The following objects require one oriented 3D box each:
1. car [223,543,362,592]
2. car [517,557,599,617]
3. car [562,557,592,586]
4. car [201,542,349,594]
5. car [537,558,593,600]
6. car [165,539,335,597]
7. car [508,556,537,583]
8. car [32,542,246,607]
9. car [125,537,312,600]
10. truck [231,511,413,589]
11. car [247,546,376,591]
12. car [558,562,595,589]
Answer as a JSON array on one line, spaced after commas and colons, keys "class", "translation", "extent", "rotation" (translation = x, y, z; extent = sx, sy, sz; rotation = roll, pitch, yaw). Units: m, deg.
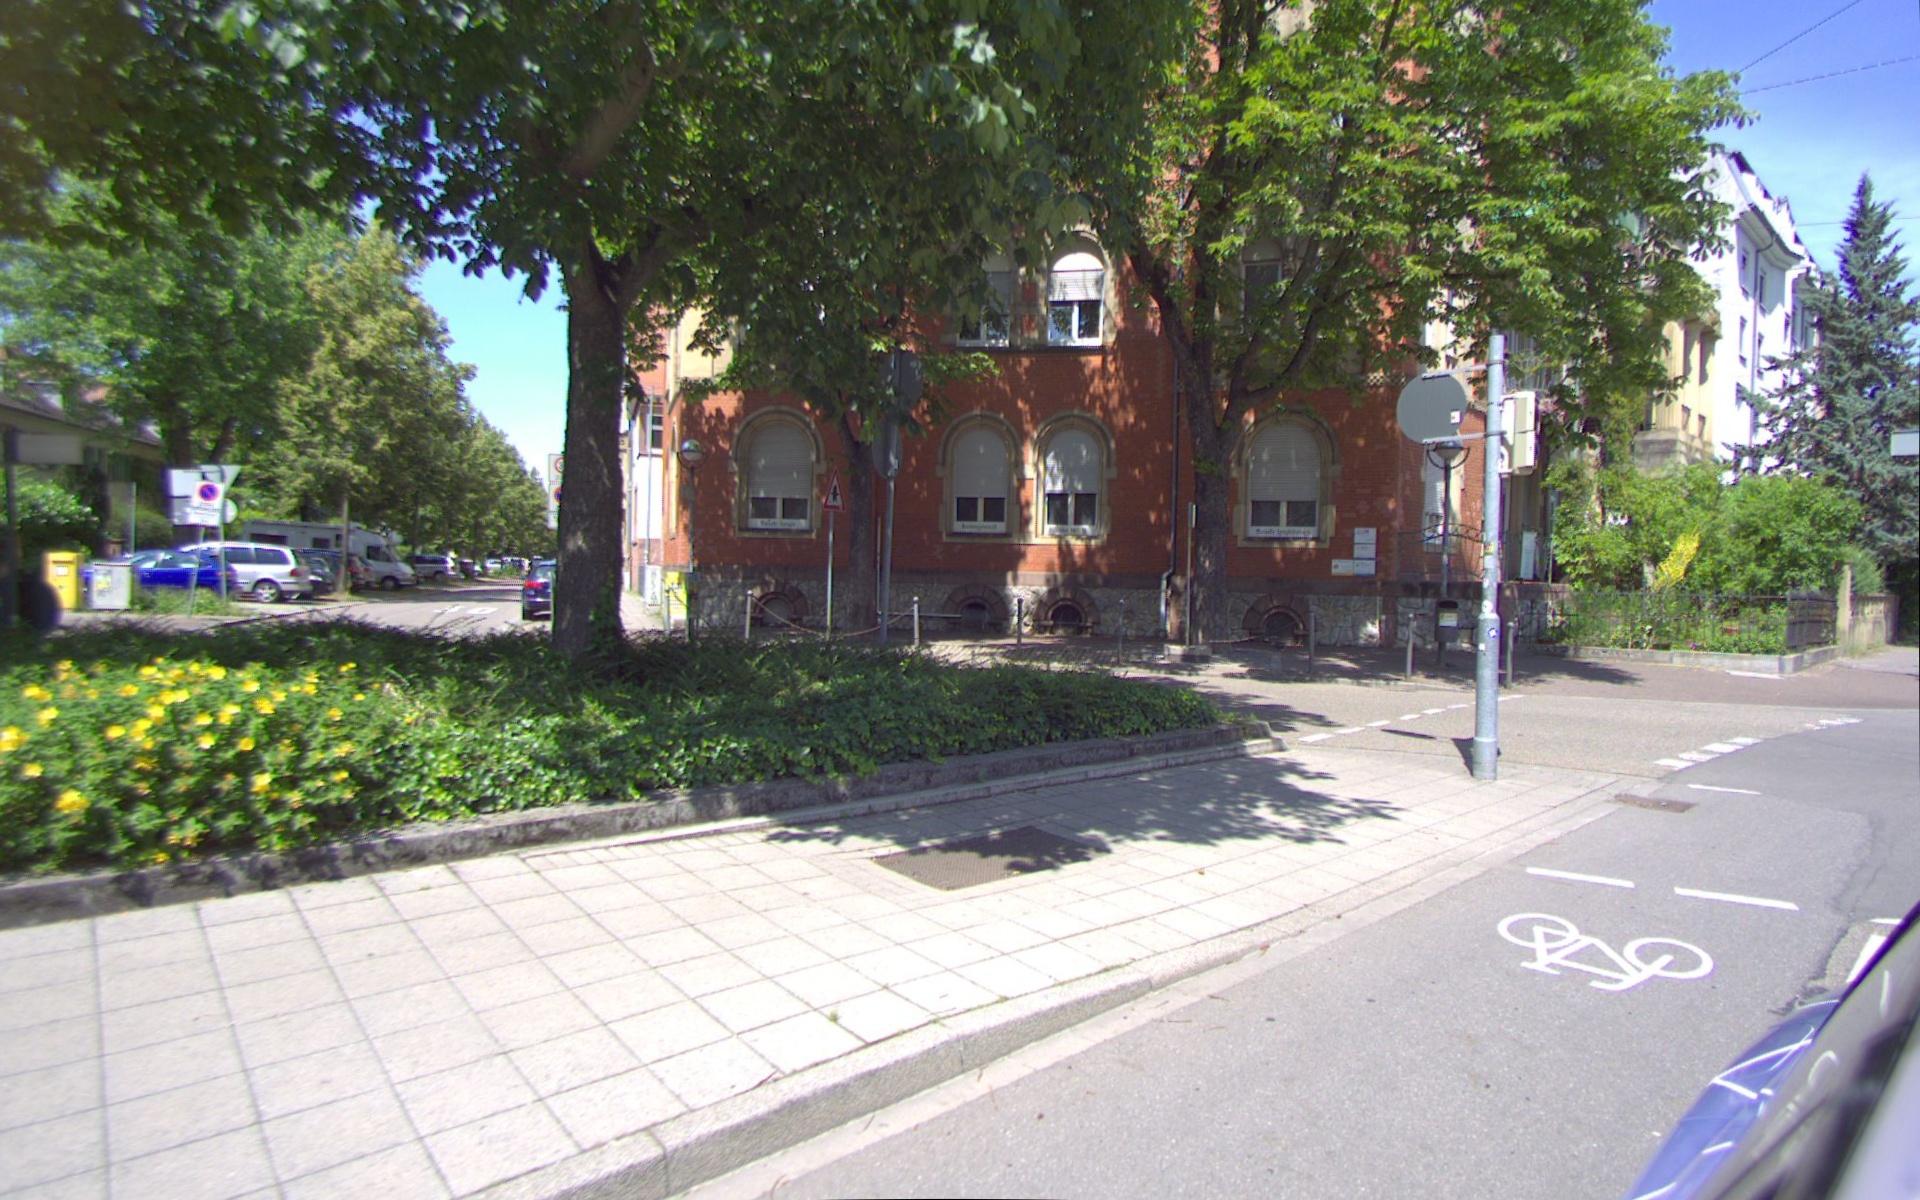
[{"class": "car", "translation": [-25.579, -1.225, 38.945], "extent": [4.176, 1.673, 1.730], "rotation": [2, 1, -24]}, {"class": "car", "translation": [-10.874, -0.392, 27.263], "extent": [1.865, 1.459, 4.769], "rotation": [0, 2, -23]}, {"class": "car", "translation": [-27.835, -2.092, 73.543], "extent": [1.868, 2.038, 4.009], "rotation": [0, 1, -18]}, {"class": "car", "translation": [-24.972, -1.150, 37.067], "extent": [4.176, 1.673, 1.730], "rotation": [2, 1, -24]}, {"class": "car", "translation": [-15.722, -0.846, 40.298], "extent": [1.946, 1.551, 5.502], "rotation": [0, 2, -21]}, {"class": "car", "translation": [-22.819, -1.007, 32.717], "extent": [4.176, 1.673, 1.730], "rotation": [2, 1, -24]}, {"class": "car", "translation": [-34.210, -2.411, 79.148], "extent": [1.777, 2.038, 3.676], "rotation": [0, 1, -19]}, {"class": "car", "translation": [-20.511, -0.614, 25.486], "extent": [3.807, 1.447, 1.731], "rotation": [2, 1, -24]}, {"class": "car", "translation": [-22.009, -0.928, 30.237], "extent": [4.176, 1.673, 1.730], "rotation": [2, 1, -24]}, {"class": "truck", "translation": [-28.905, -2.217, 46.139], "extent": [6.686, 3.193, 1.939], "rotation": [2, 1, -22]}, {"class": "car", "translation": [-26.625, -1.269, 41.714], "extent": [4.176, 1.673, 1.730], "rotation": [2, 1, -24]}, {"class": "car", "translation": [-22.930, -1.474, 60.465], "extent": [1.865, 1.575, 4.411], "rotation": [0, 2, -23]}]
